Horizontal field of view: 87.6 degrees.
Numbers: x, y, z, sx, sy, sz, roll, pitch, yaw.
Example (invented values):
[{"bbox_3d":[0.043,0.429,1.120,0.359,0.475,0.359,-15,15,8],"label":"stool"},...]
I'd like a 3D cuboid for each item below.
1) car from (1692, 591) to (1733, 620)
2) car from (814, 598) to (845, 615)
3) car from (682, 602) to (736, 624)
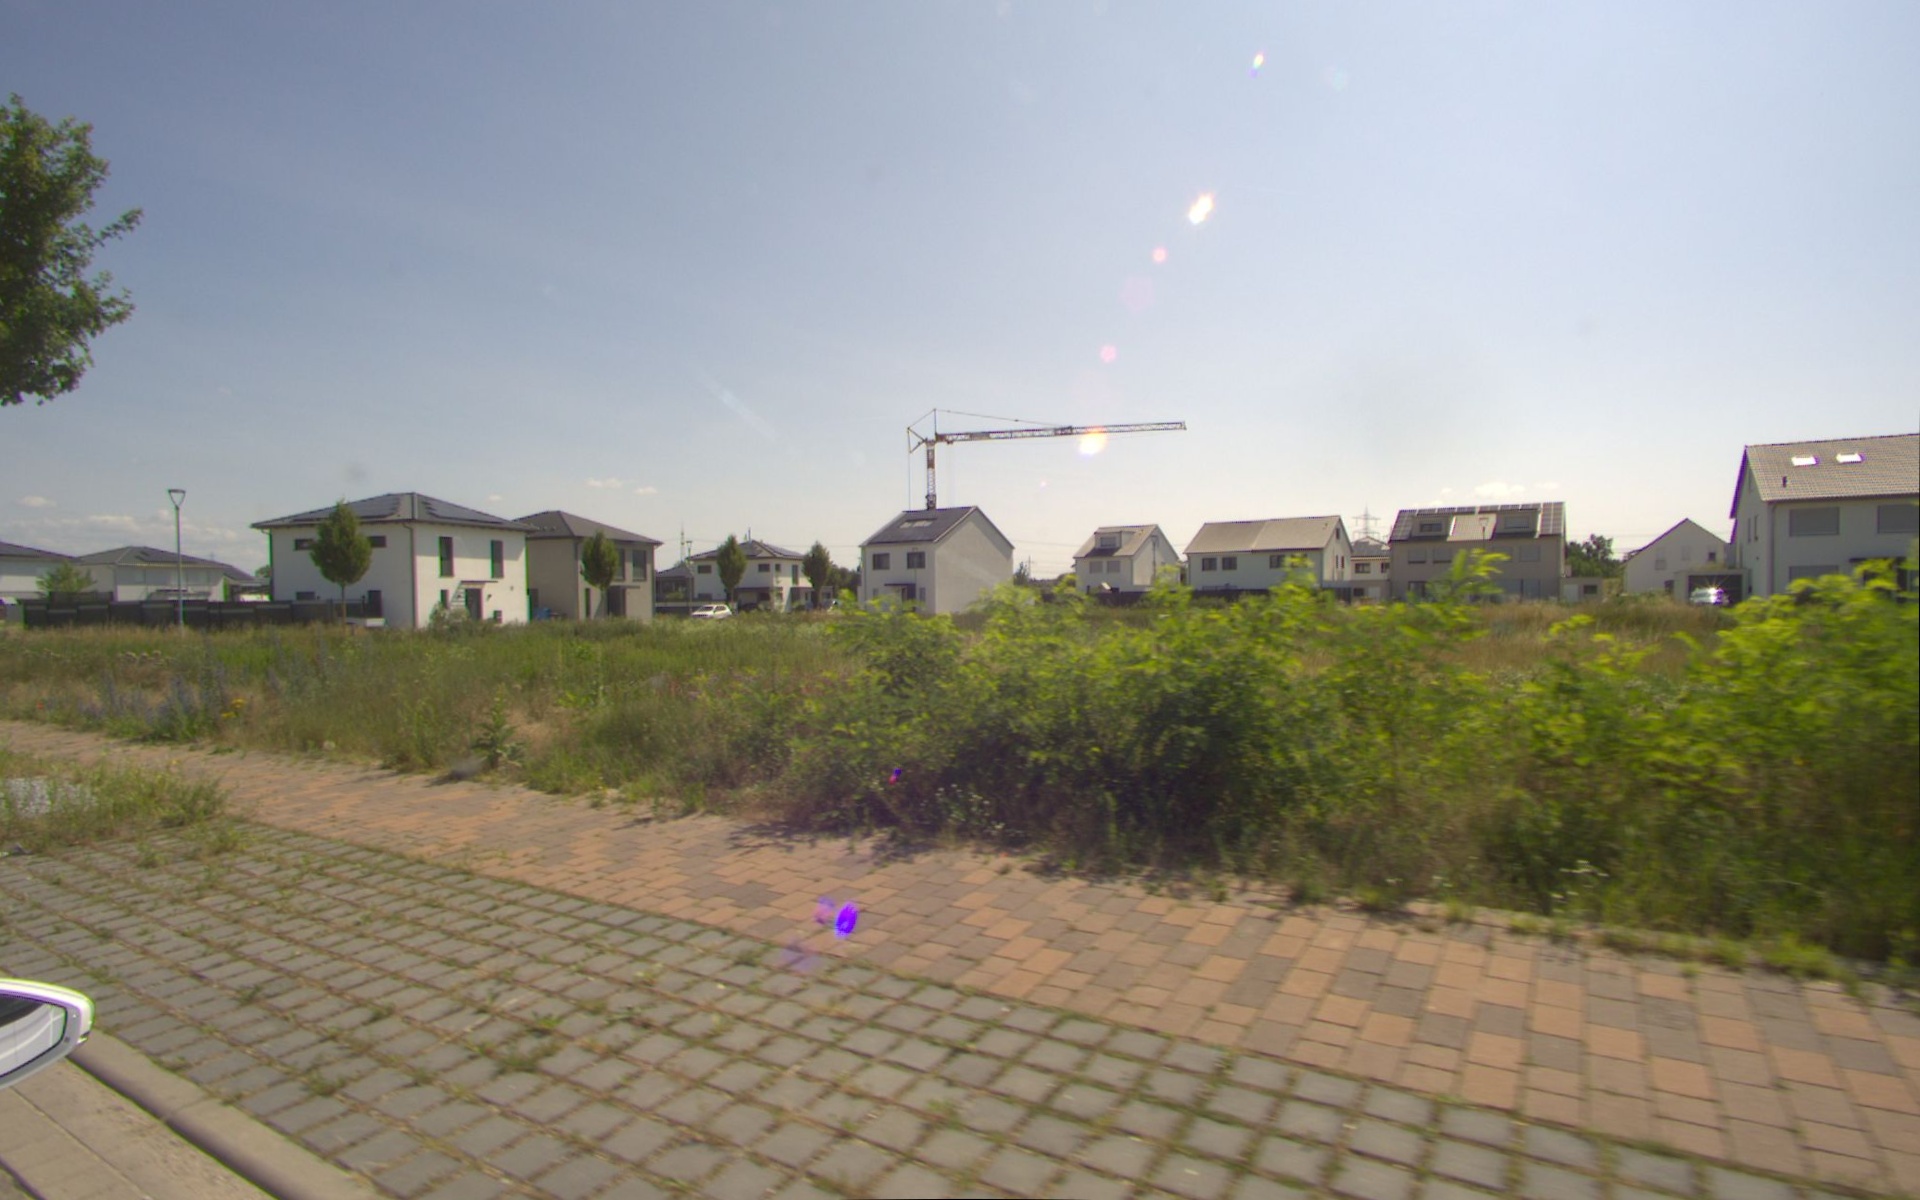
[{"bbox_3d":[42.128,0.303,56.112,1.791,1.595,3.973,0,0,36],"label":"car"},{"bbox_3d":[-13.999,0.711,107.579,1.794,1.776,4.235,0,0,15],"label":"car"},{"bbox_3d":[-17.498,0.894,70.026,1.720,1.416,3.992,-1,0,19],"label":"car"}]
